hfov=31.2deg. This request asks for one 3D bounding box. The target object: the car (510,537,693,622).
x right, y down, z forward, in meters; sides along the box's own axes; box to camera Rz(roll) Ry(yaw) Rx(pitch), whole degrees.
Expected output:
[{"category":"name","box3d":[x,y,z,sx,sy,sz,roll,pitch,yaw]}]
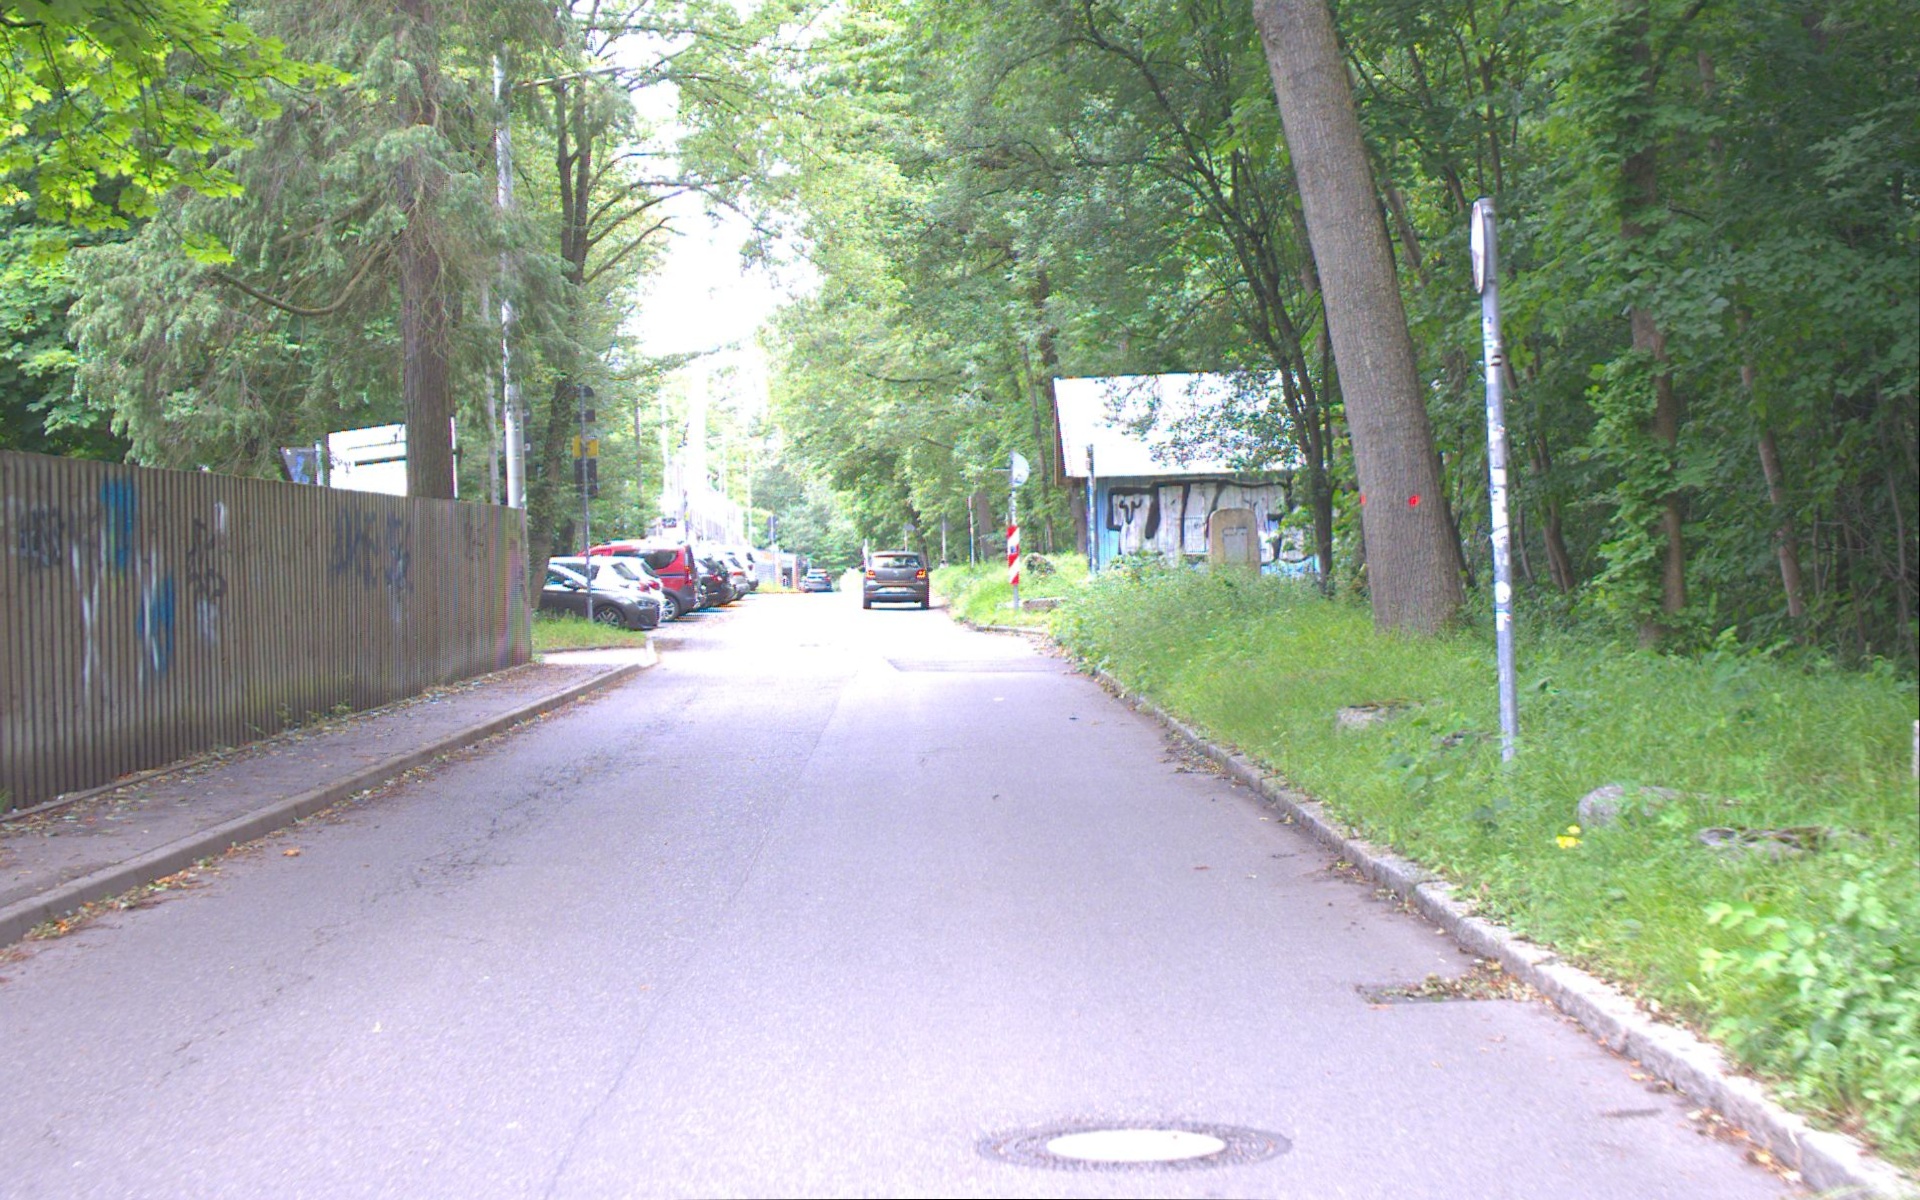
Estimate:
[{"category":"car","box3d":[-8.075,-0.466,77.791,3.986,1.744,2.000,-2,1,-4]}]

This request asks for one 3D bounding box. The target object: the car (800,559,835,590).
[{"category":"car","box3d":[-9.549,-1.731,230.201,1.993,2.007,4.001,-3,1,-6]}]

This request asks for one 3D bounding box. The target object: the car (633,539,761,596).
[{"category":"car","box3d":[-8.604,-1.047,112.560,3.987,1.590,1.765,-4,0,-1]}]

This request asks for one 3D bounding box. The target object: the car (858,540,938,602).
[{"category":"car","box3d":[-1.539,-0.725,86.654,1.908,1.503,4.000,0,0,0]}]

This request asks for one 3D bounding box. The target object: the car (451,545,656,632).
[{"category":"car","box3d":[-8.194,-0.241,69.623,3.986,1.568,2.000,-2,1,-4]}]

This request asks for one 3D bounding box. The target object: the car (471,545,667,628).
[{"category":"car","box3d":[-8.238,-0.295,72.713,3.986,1.568,2.000,-2,1,-4]}]

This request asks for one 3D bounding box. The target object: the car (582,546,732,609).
[{"category":"car","box3d":[-7.592,-0.566,86.427,3.572,1.402,1.650,-3,0,0]}]
